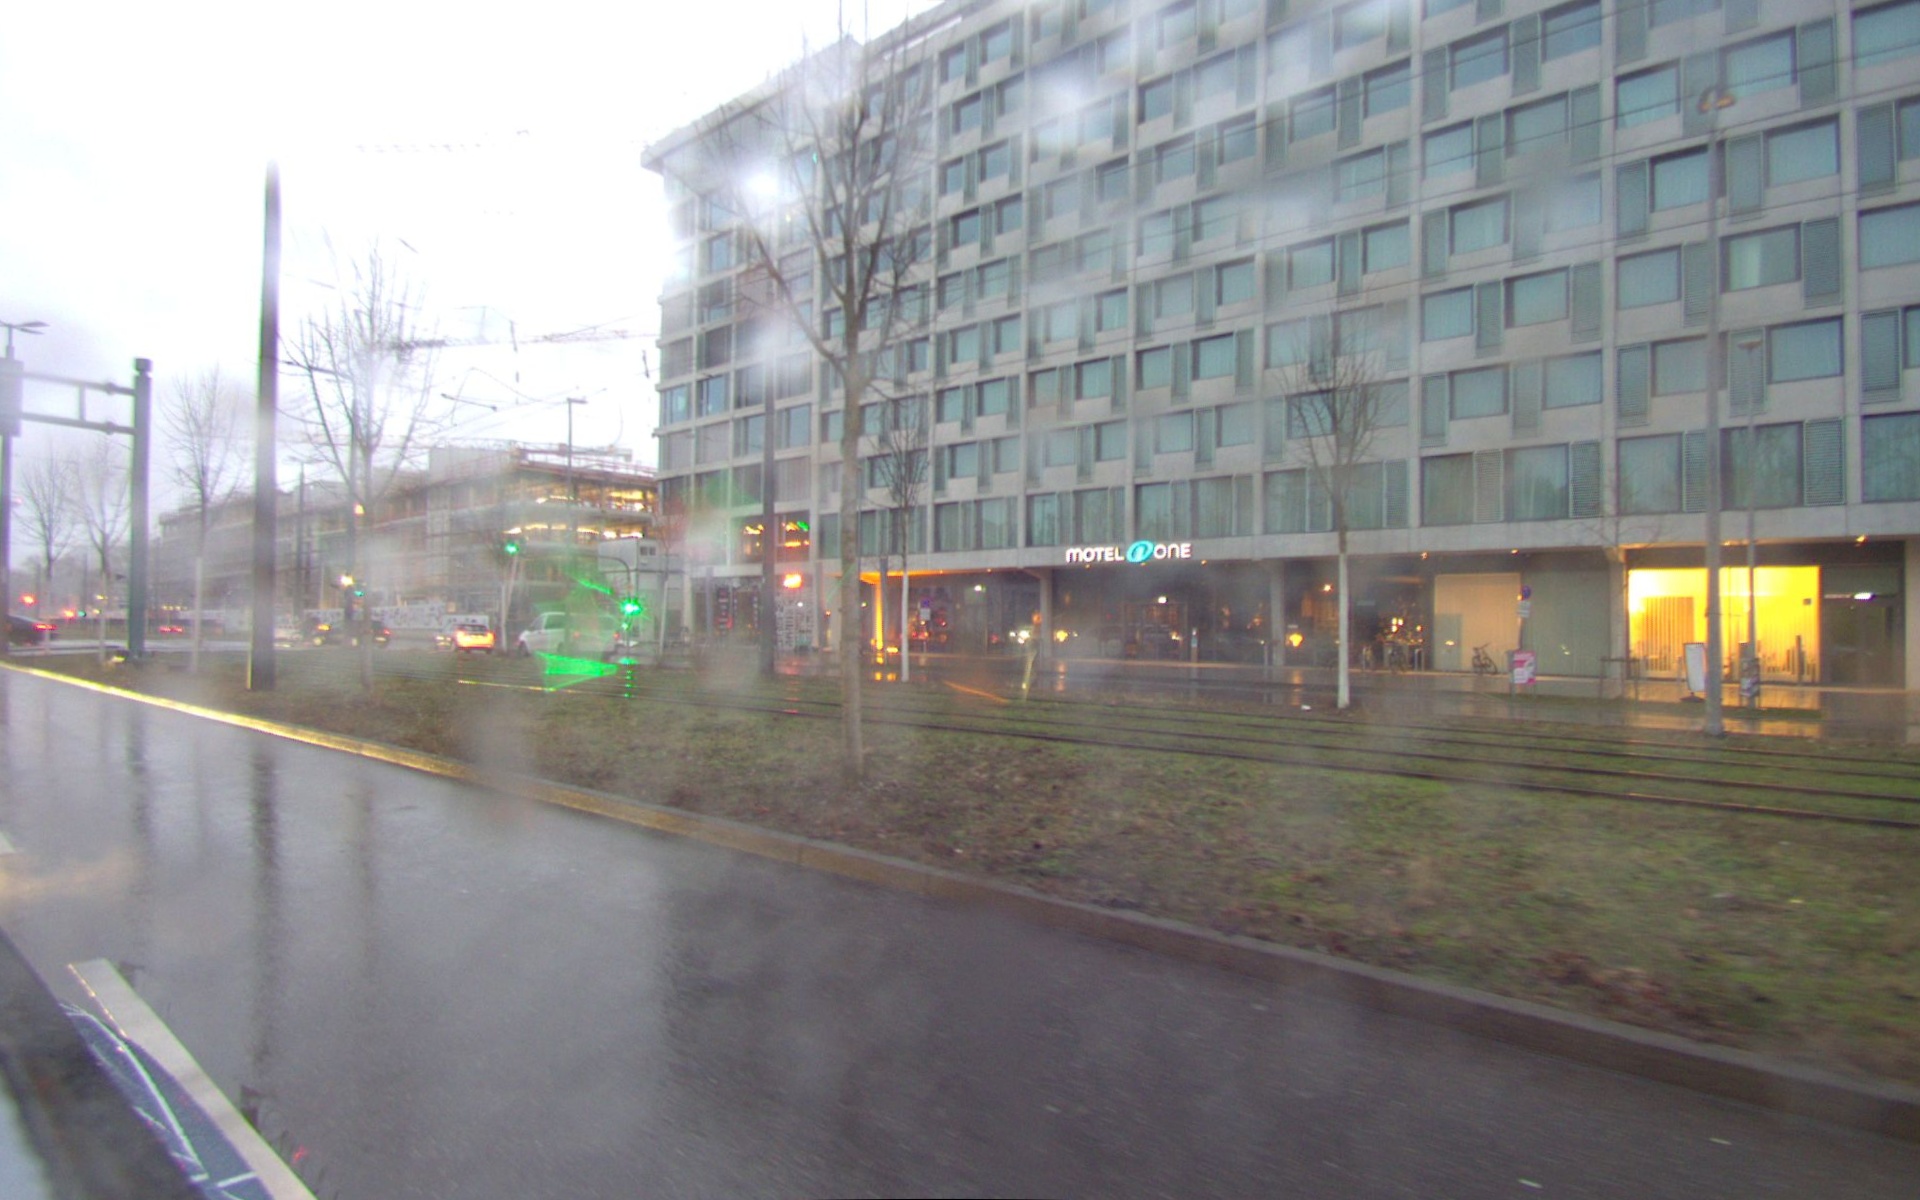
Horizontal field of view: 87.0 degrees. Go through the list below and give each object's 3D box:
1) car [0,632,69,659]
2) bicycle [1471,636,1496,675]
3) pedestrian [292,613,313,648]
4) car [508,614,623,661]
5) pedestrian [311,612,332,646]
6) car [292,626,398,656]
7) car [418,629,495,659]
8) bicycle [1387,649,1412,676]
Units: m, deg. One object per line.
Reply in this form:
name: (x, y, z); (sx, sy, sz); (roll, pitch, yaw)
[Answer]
car: (-46.229, 2.199, 49.426); (1.818, 1.284, 3.942); (-1, -2, 44)
bicycle: (17.862, 1.887, 34.497); (0.465, 1.247, 1.520); (-1, 0, 39)
pedestrian: (-35.477, 1.643, 54.575); (0.768, 1.818, 0.702); (-1, 0, 34)
car: (-15.119, 1.418, 38.675); (5.042, 1.682, 2.059); (-1, -2, 42)
pedestrian: (-34.756, 1.587, 55.085); (0.766, 1.818, 0.704); (-1, 0, 27)
car: (-30.895, 2.040, 50.902); (4.208, 1.411, 2.107); (0, -2, 8)
car: (-23.208, 2.003, 46.615); (3.998, 1.317, 1.793); (-1, -2, 41)
bicycle: (15.622, 2.199, 35.957); (0.465, 0.860, 1.332); (-1, 0, 39)
